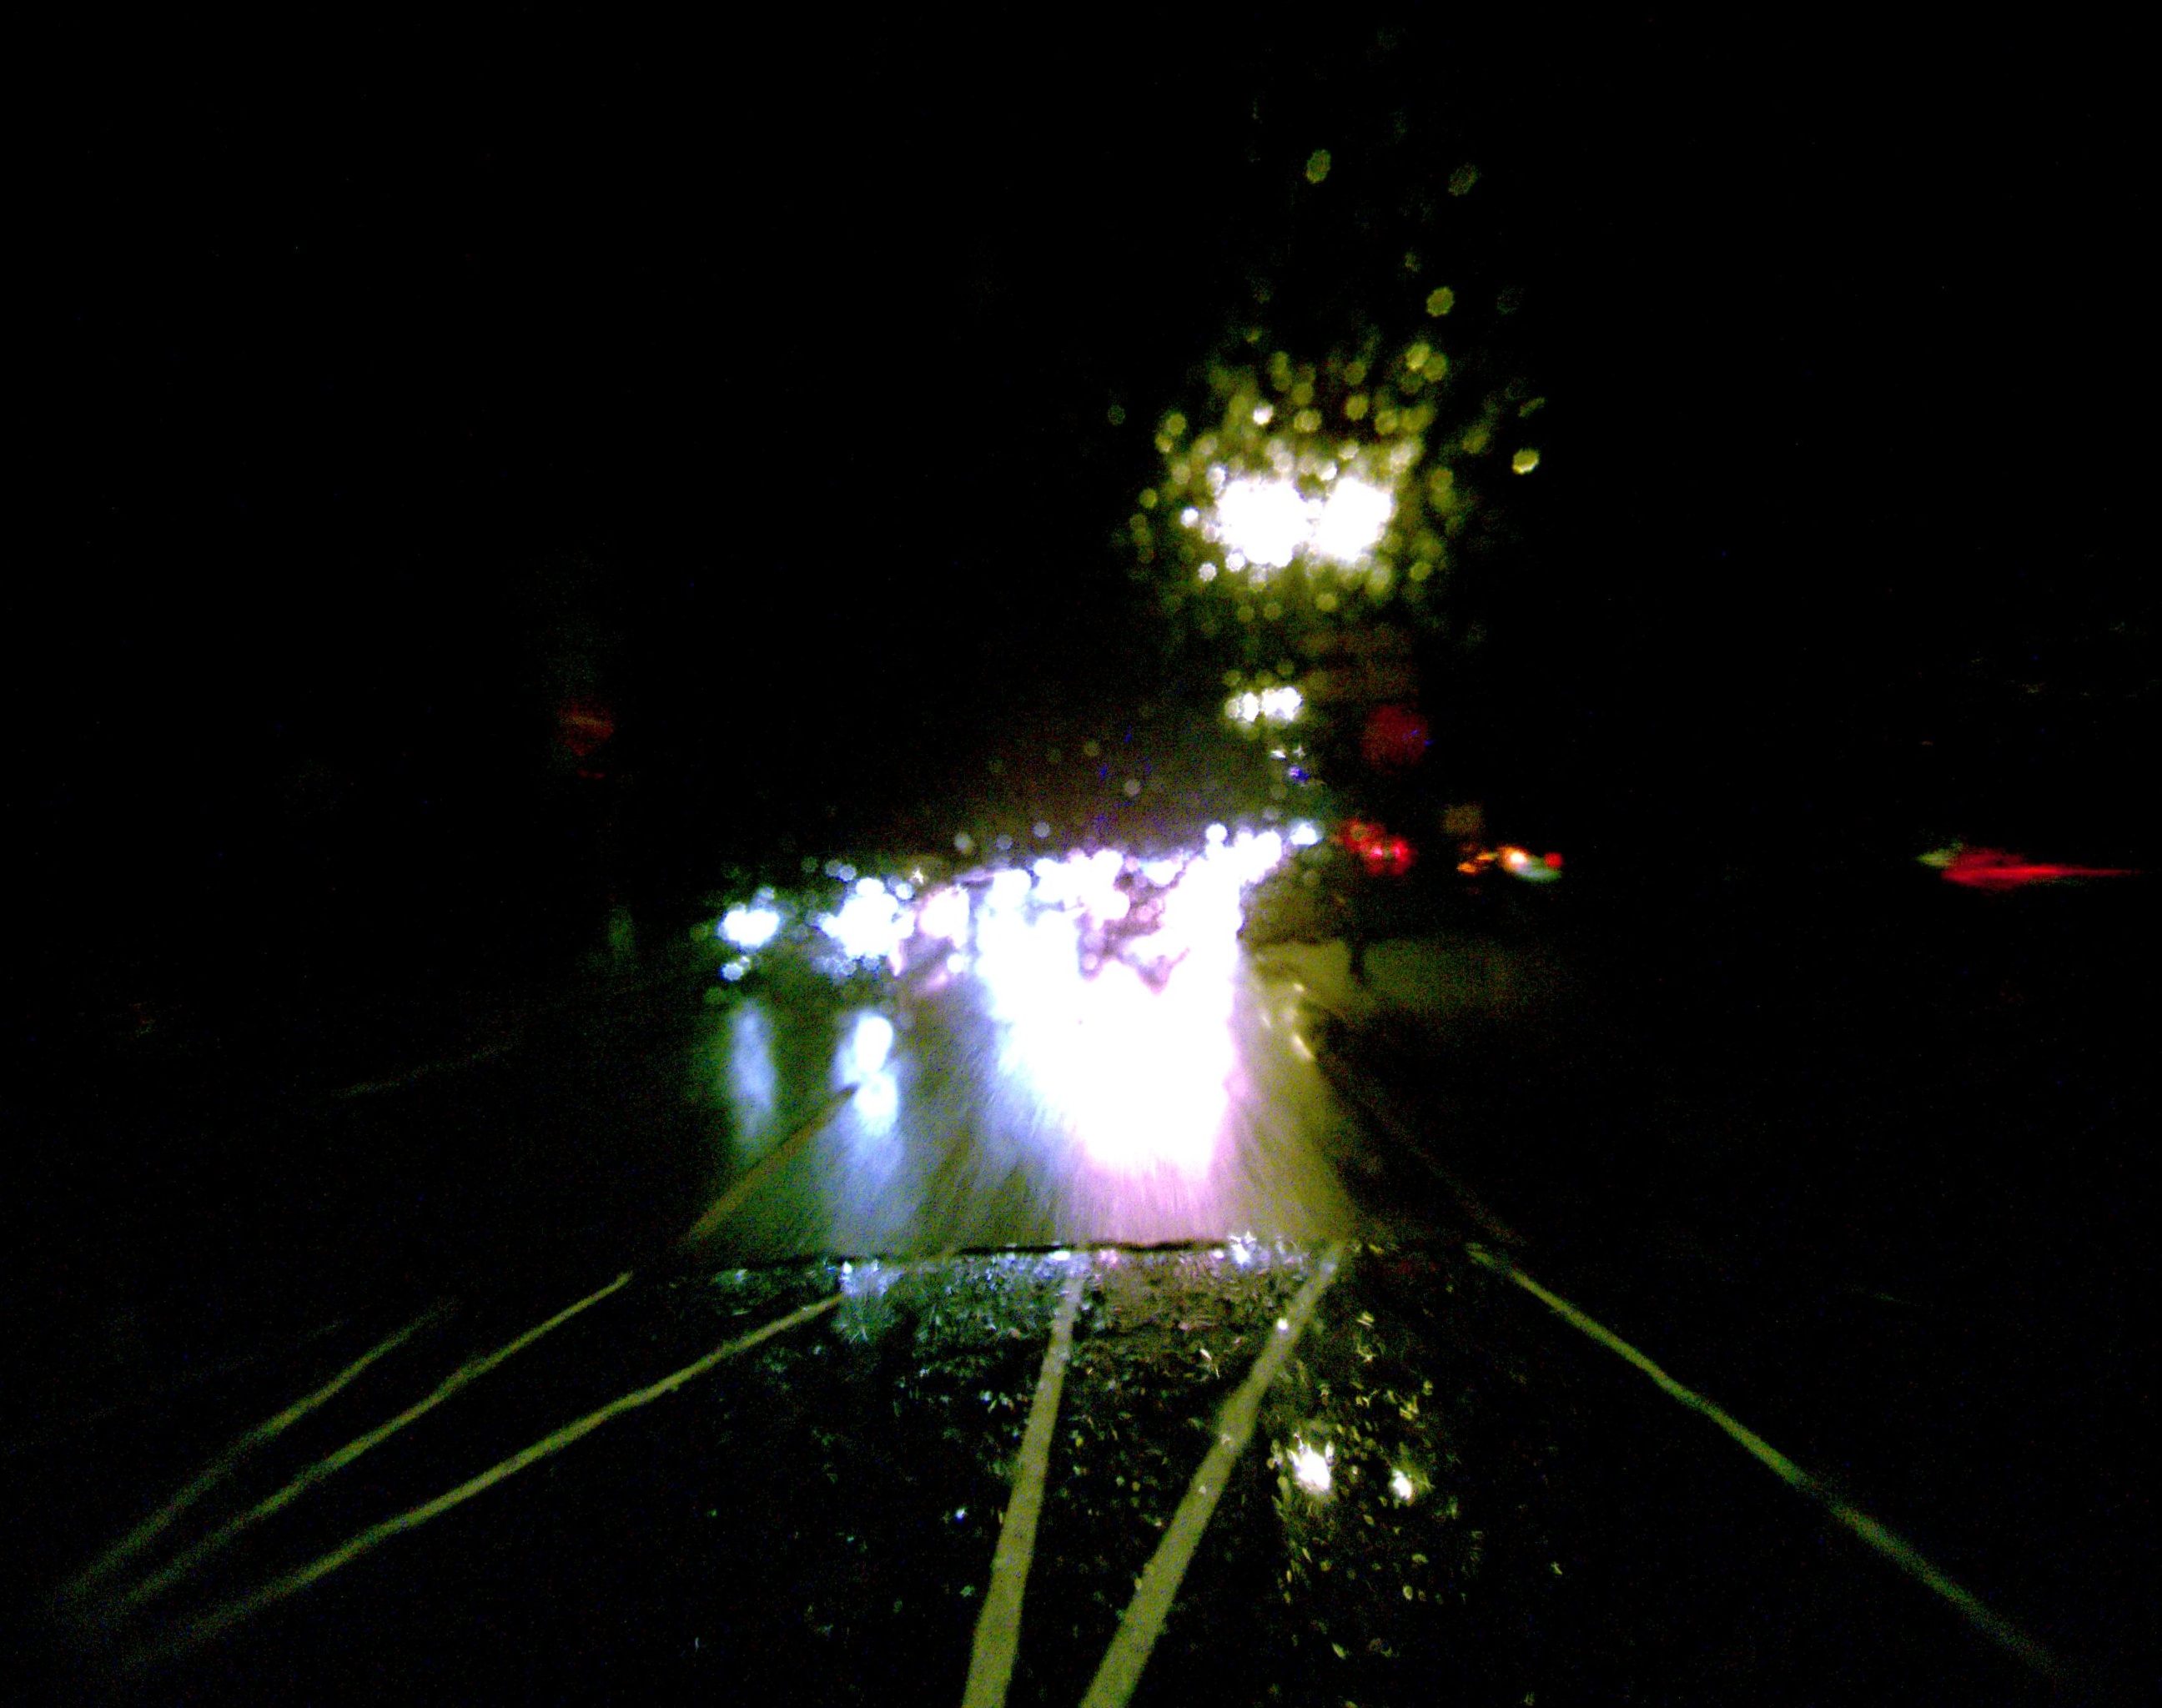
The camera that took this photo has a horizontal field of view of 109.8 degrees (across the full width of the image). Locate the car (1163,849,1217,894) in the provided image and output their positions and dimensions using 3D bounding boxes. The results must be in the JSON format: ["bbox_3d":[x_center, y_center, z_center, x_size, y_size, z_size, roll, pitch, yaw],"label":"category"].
[{"bbox_3d":[4.329,0.644,29.799,1.604,1.417,3.392,-4,1,15],"label":"car"}]

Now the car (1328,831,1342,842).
[{"bbox_3d":[38.339,-2.590,114.594,1.851,1.562,3.511,-1,0,17],"label":"car"}]

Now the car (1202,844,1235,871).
[{"bbox_3d":[8.440,0.200,46.503,1.604,1.417,3.392,-4,1,15],"label":"car"}]

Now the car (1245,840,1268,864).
[{"bbox_3d":[16.840,-0.209,72.968,1.997,2.002,4.002,-3,2,12],"label":"car"}]

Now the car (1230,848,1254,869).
[{"bbox_3d":[12.871,0.332,60.674,1.604,1.417,3.392,-4,1,15],"label":"car"}]

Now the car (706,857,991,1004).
[{"bbox_3d":[-2.850,0.872,10.565,1.675,1.497,4.563,-3,0,12],"label":"car"}]

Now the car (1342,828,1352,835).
[{"bbox_3d":[52.871,-4.473,150.930,1.713,1.415,4.672,1,2,18],"label":"car"}]

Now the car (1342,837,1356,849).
[{"bbox_3d":[36.576,-1.527,103.641,1.776,1.584,4.566,-1,2,20],"label":"car"}]

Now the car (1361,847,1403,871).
[{"bbox_3d":[18.943,0.265,47.999,1.792,1.448,4.582,0,1,13],"label":"car"}]

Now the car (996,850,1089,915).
[{"bbox_3d":[-0.999,0.746,22.151,1.710,1.513,4.416,-3,2,10],"label":"car"}]

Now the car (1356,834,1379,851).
[{"bbox_3d":[26.912,-1.127,71.441,1.736,1.487,3.945,1,2,18],"label":"car"}]

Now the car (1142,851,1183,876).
[{"bbox_3d":[5.825,0.616,53.873,1.996,1.589,4.397,-3,0,17],"label":"car"}]

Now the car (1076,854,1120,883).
[{"bbox_3d":[1.068,0.810,45.041,1.741,1.410,4.142,-3,2,14],"label":"car"}]

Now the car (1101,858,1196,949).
[{"bbox_3d":[1.256,0.803,13.777,1.496,1.416,3.391,-1,0,6],"label":"car"}]

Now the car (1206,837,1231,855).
[{"bbox_3d":[13.791,-0.832,76.146,1.996,1.589,4.396,-1,2,17],"label":"car"}]

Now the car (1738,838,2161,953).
[{"bbox_3d":[13.071,0.529,11.888,1.784,1.452,4.478,-1,0,1],"label":"car"}]

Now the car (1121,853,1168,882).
[{"bbox_3d":[3.733,0.759,44.064,1.741,1.410,4.143,-2,2,18],"label":"car"}]

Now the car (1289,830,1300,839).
[{"bbox_3d":[45.118,-4.134,160.716,1.996,1.670,4.004,-2,2,19],"label":"car"}]

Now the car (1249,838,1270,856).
[{"bbox_3d":[19.395,-0.752,82.502,1.966,1.784,4.003,-2,2,15],"label":"car"}]

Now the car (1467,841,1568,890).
[{"bbox_3d":[14.229,0.340,24.970,1.568,1.424,3.496,-3,0,7],"label":"car"}]
